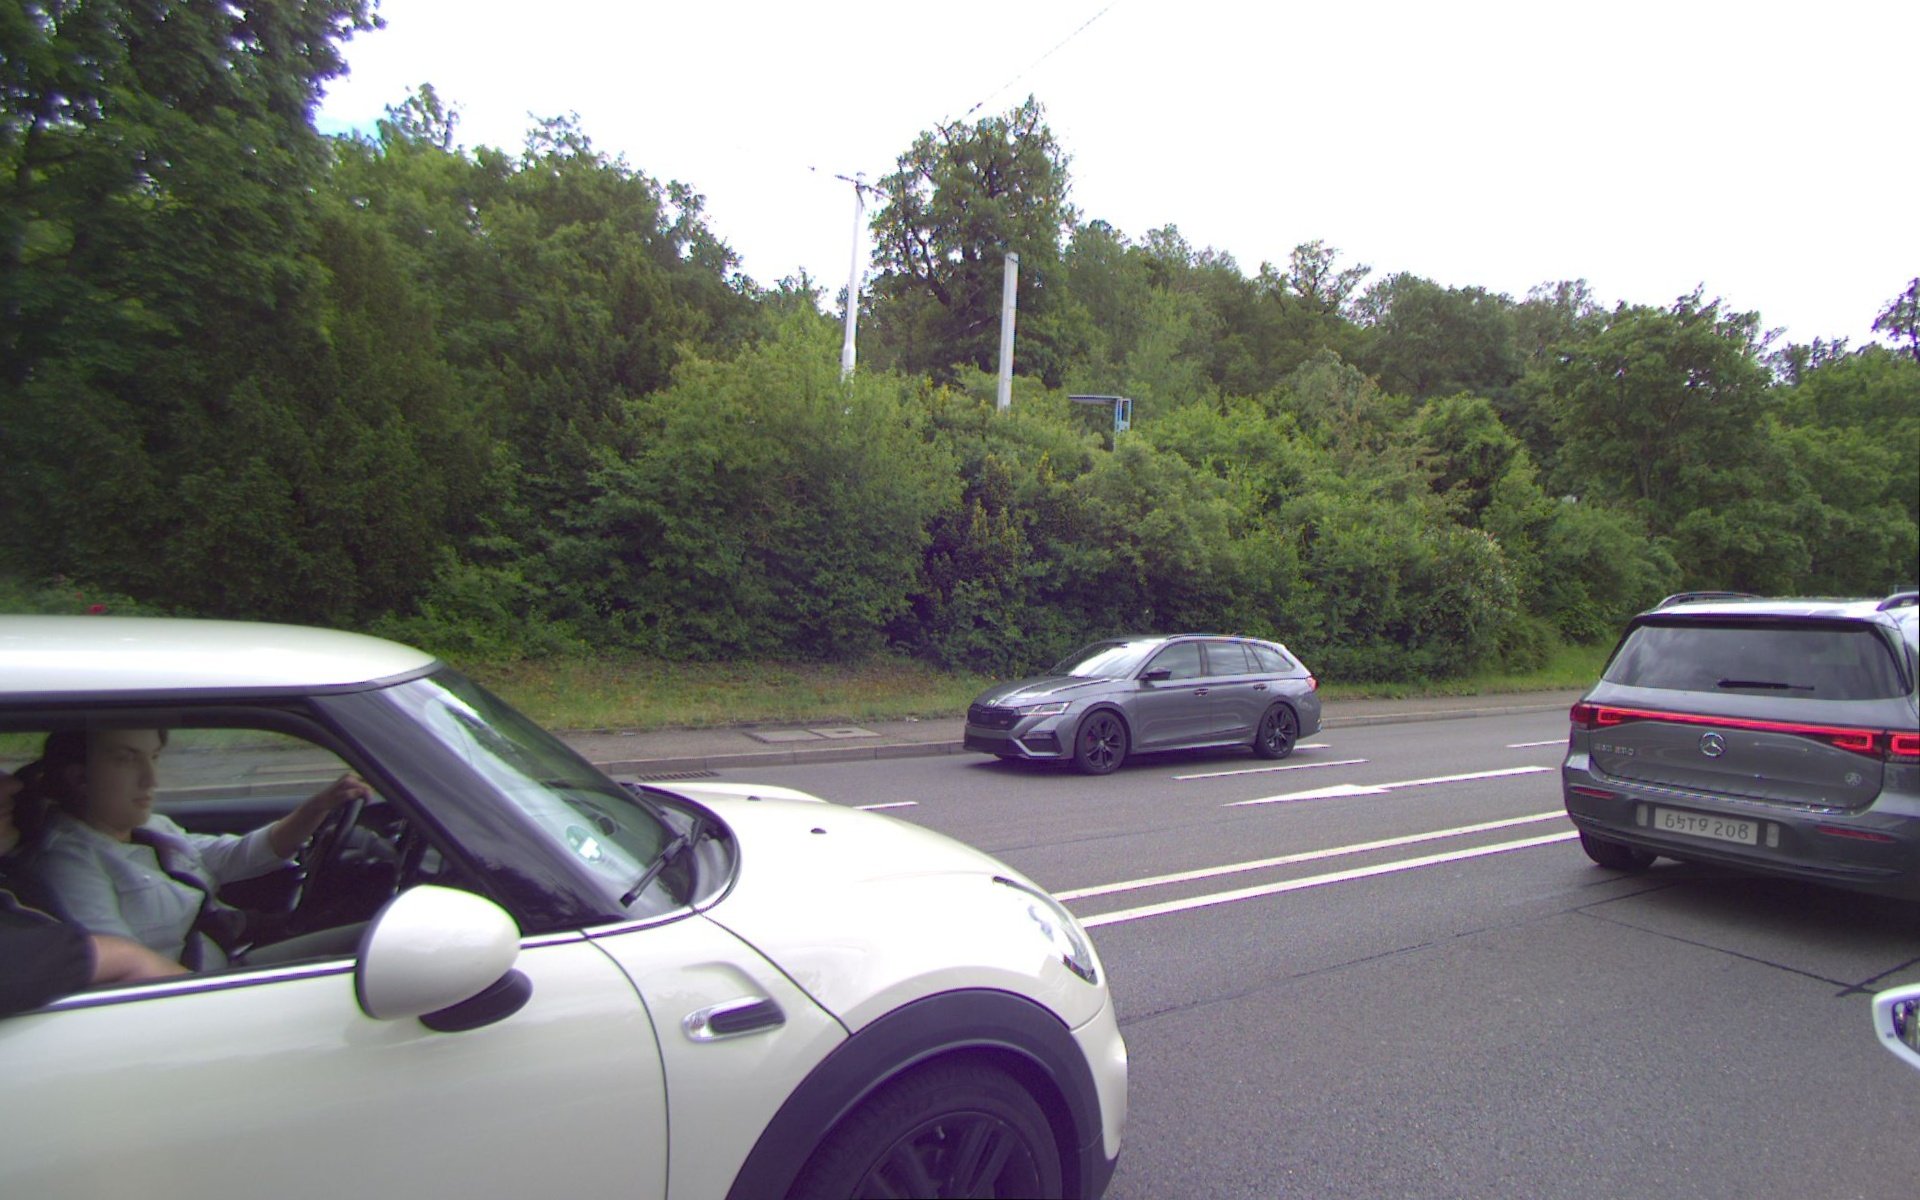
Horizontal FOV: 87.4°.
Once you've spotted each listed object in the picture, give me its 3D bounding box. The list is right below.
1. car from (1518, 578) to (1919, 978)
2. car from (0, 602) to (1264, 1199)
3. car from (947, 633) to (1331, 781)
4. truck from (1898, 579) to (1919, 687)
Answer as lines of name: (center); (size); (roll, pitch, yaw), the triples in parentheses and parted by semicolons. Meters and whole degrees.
car: (5.450, 0.795, 6.012); (4.309, 1.673, 1.839); (2, -1, -32)
car: (-1.339, 0.737, 1.934); (3.691, 1.443, 1.675); (2, -1, -32)
car: (2.118, 1.101, 11.484); (4.310, 1.414, 1.671); (2, -2, -31)
truck: (30.802, 1.024, 30.121); (6.903, 3.091, 2.280); (2, -2, -33)
